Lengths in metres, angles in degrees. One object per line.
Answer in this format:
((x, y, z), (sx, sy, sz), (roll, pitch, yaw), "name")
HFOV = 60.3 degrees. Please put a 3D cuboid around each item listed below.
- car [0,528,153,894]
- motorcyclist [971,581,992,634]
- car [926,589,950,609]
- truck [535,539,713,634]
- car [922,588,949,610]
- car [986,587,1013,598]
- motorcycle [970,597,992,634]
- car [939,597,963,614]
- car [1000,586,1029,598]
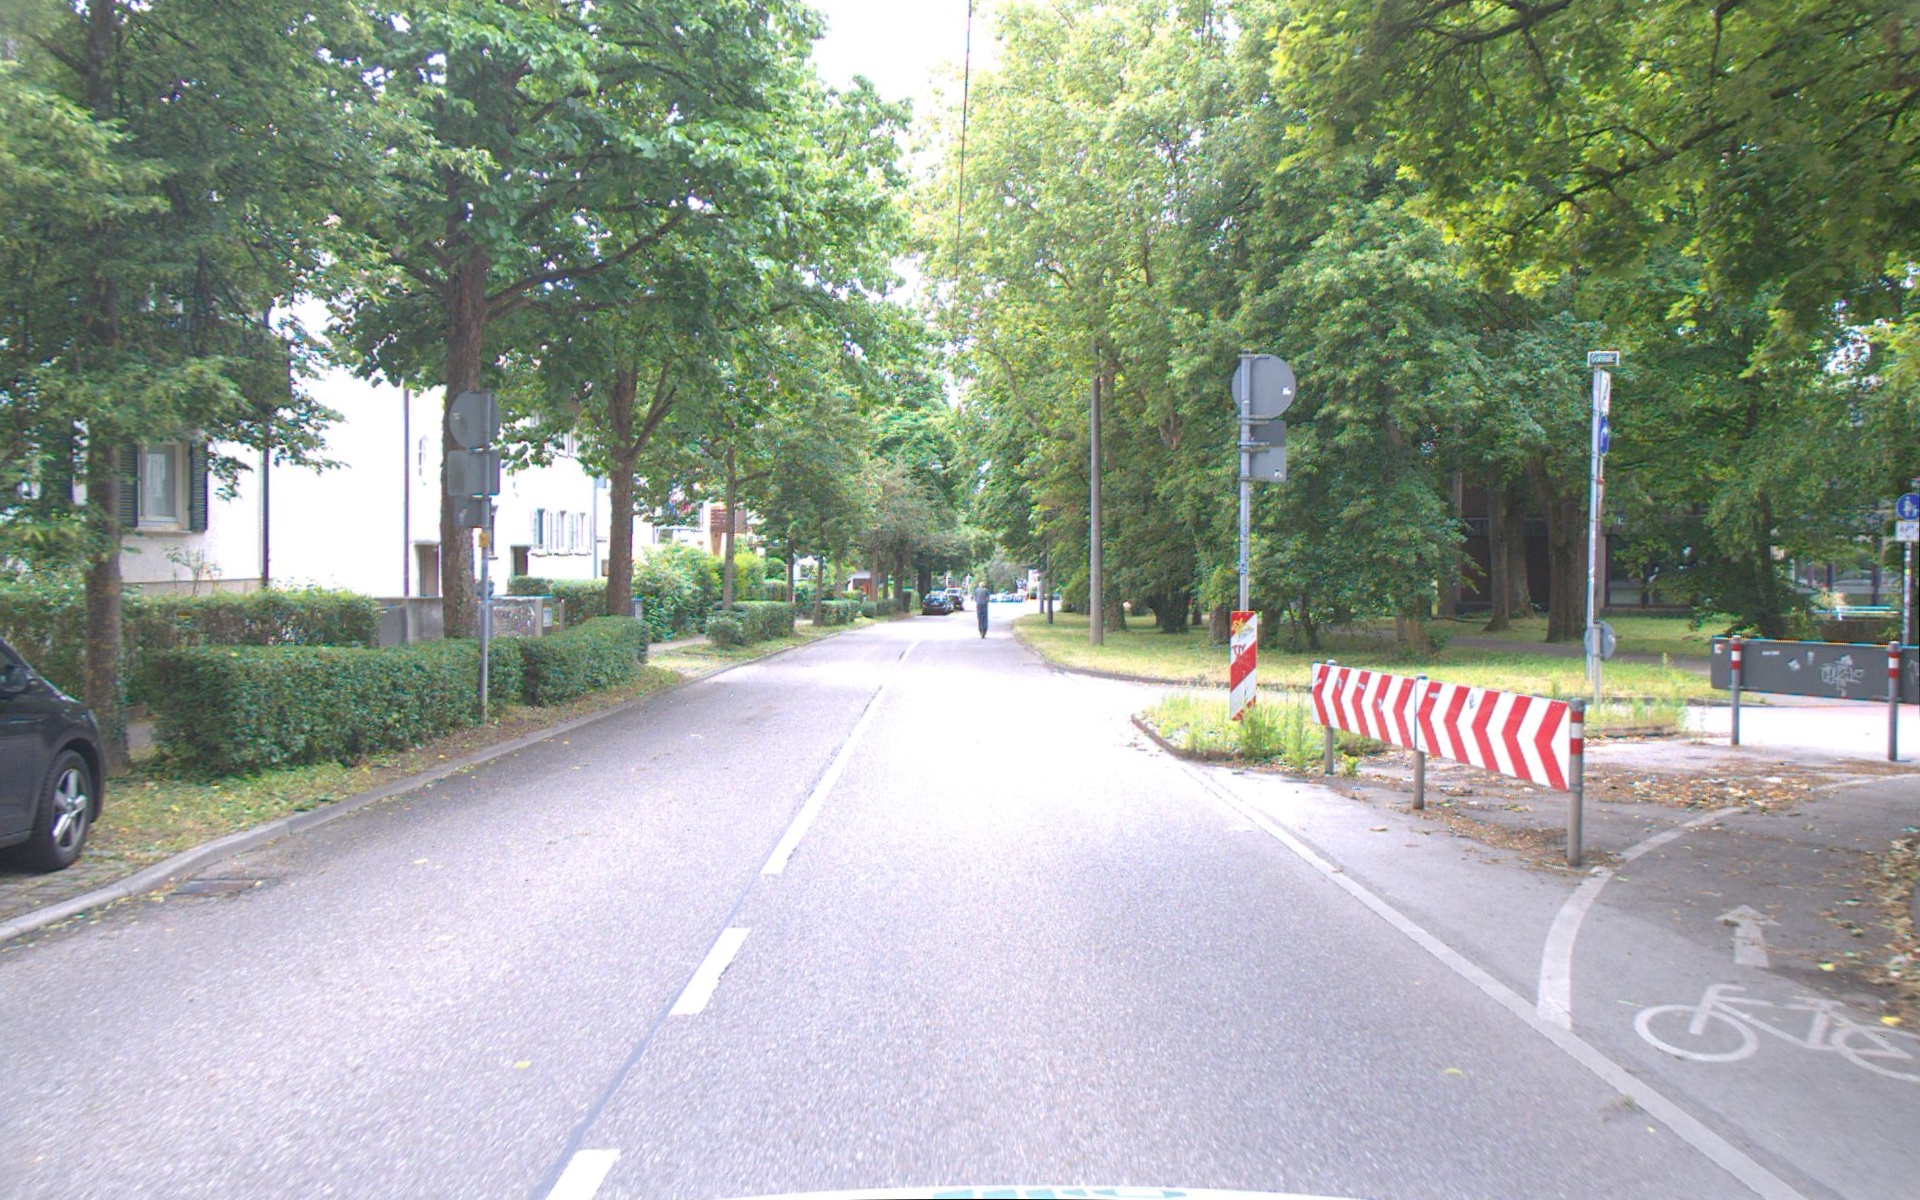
((-5.531, 0.536, 7.490), (1.789, 1.784, 4.450), (1, 0, -4), "car")
((0.749, 0.266, 57.123), (0.658, 1.792, 0.639), (1, 0, 4), "motorcyclist")
((-1.568, -0.090, 120.297), (1.630, 1.416, 3.707), (-1, 0, 0), "car")
((-11.655, -0.470, 57.697), (5.678, 3.185, 2.518), (1, 0, -1), "truck")
((-1.693, -0.071, 115.270), (1.757, 1.498, 4.418), (-1, 0, 0), "car")
((5.671, -1.107, 239.801), (3.905, 1.537, 1.800), (-1, 0, 0), "car")
((0.736, 0.539, 56.985), (0.658, 1.239, 1.274), (1, 0, 4), "motorcycle")
((-0.803, 0.504, 146.343), (1.852, 1.435, 4.555), (-1, -1, 3), "car")
((7.416, -1.086, 227.093), (3.905, 1.537, 1.800), (-1, 0, 0), "car")
